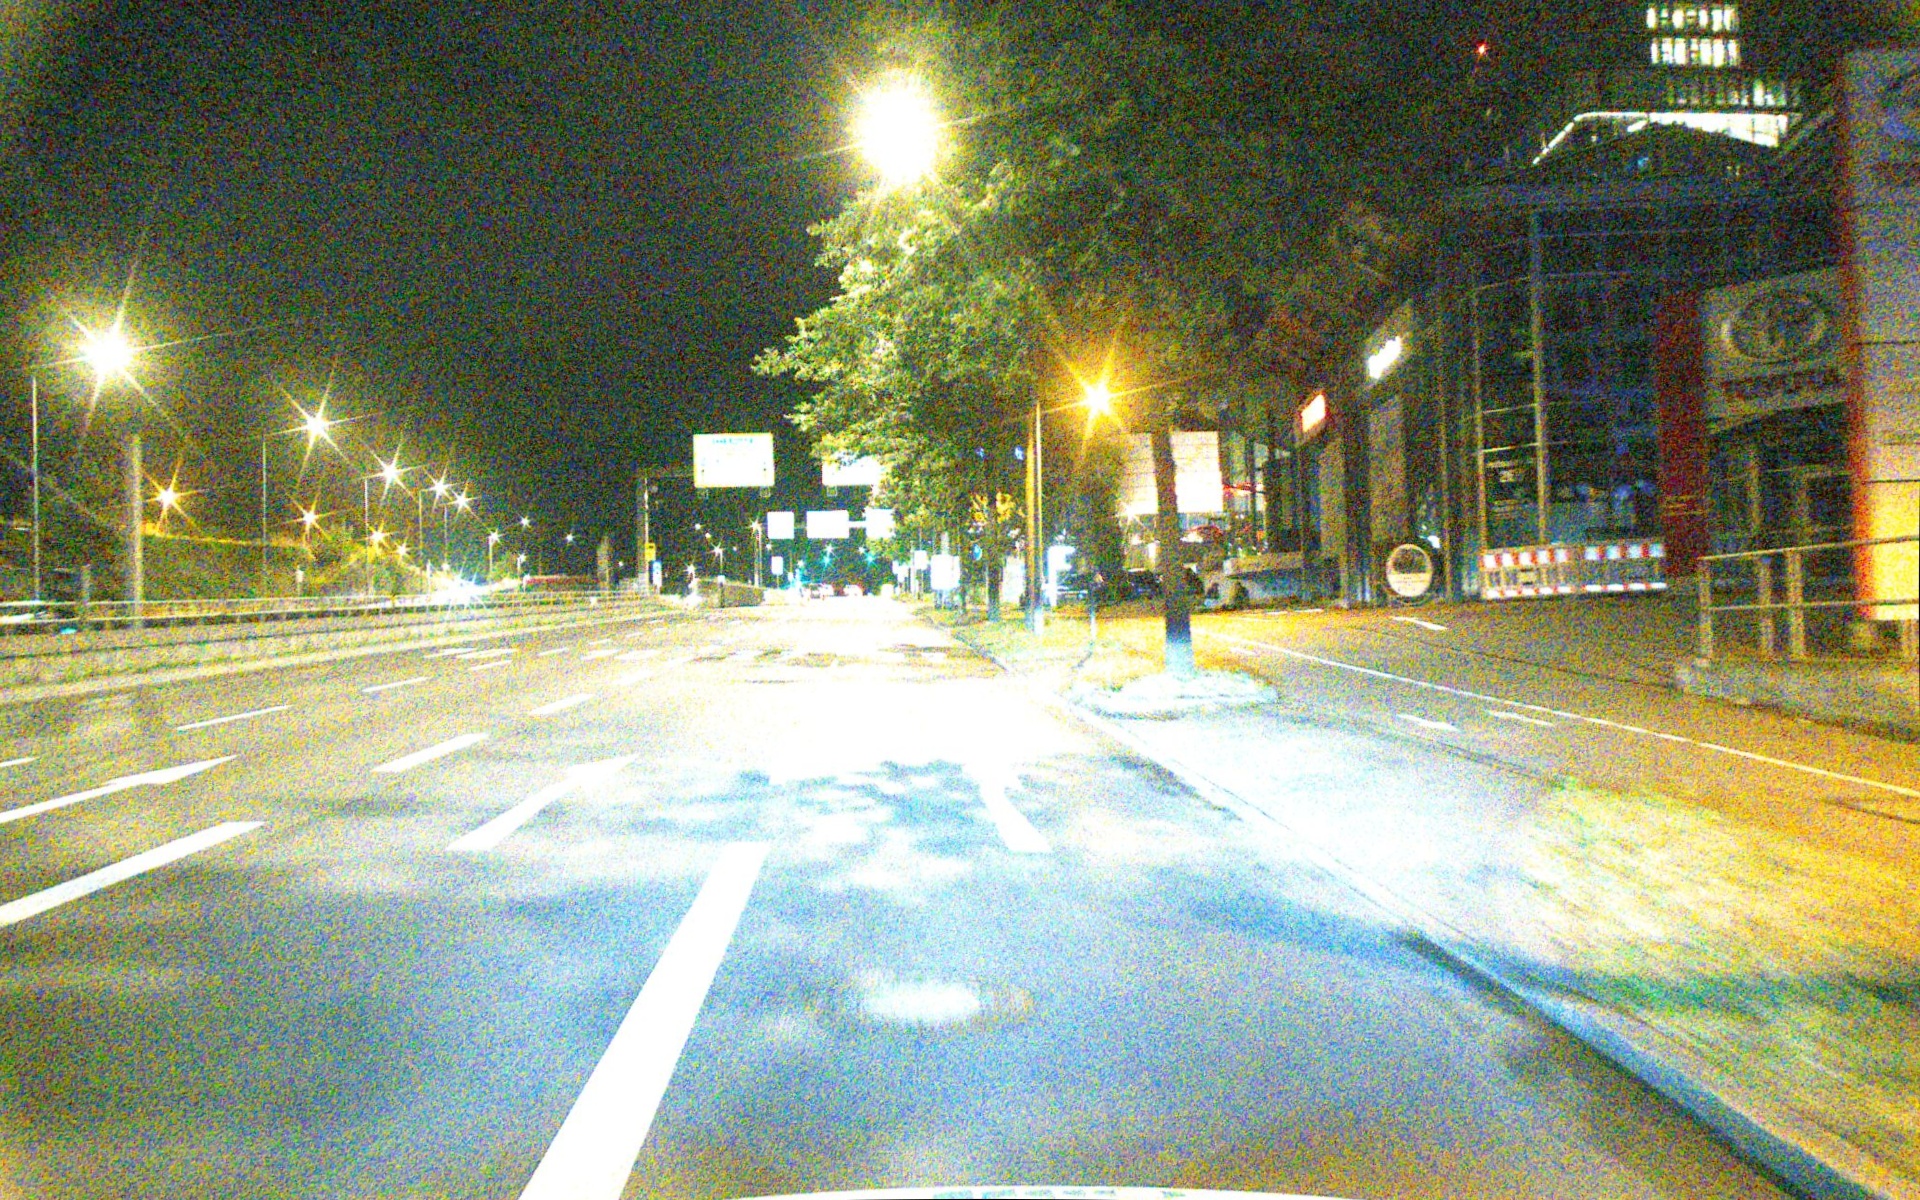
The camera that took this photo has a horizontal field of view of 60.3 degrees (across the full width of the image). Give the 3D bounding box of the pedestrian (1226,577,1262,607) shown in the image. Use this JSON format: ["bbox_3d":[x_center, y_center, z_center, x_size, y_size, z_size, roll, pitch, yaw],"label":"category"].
[{"bbox_3d":[9.649,-0.266,56.245,0.982,1.025,0.767,0,-1,-18],"label":"pedestrian"}]

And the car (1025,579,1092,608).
[{"bbox_3d":[5.436,-0.339,91.543,3.443,1.535,1.733,0,-1,-7],"label":"car"}]

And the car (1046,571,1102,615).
[{"bbox_3d":[5.439,-0.293,78.309,1.951,1.979,4.003,0,-1,14],"label":"car"}]

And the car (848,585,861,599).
[{"bbox_3d":[-14.551,-1.093,227.518,1.745,1.758,3.997,0,-1,-3],"label":"car"}]

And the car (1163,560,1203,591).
[{"bbox_3d":[11.699,-1.278,86.808,1.853,1.538,3.638,0,-1,4],"label":"car"}]

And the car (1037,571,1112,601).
[{"bbox_3d":[5.775,-0.714,83.635,3.555,1.476,1.705,0,-1,-7],"label":"car"}]

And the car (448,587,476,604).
[{"bbox_3d":[-45.639,-0.381,151.660,1.592,1.507,3.677,0,-1,-2],"label":"car"}]

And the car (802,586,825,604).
[{"bbox_3d":[-14.348,-0.468,162.648,1.928,1.741,3.999,0,-1,-1],"label":"car"}]

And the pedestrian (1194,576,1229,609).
[{"bbox_3d":[8.531,-0.253,56.077,0.897,1.056,0.767,-2,0,41],"label":"pedestrian"}]

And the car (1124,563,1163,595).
[{"bbox_3d":[9.466,-1.070,85.321,1.853,1.538,3.638,0,-1,4],"label":"car"}]

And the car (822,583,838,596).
[{"bbox_3d":[-17.527,-1.419,222.566,1.954,1.624,3.997,-1,-1,-3],"label":"car"}]

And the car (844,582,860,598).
[{"bbox_3d":[-14.219,-1.307,218.042,1.954,2.049,3.997,0,-1,-3],"label":"car"}]

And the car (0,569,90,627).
[{"bbox_3d":[-29.006,-0.073,51.604,1.764,1.724,3.998,0,0,-3],"label":"car"}]
